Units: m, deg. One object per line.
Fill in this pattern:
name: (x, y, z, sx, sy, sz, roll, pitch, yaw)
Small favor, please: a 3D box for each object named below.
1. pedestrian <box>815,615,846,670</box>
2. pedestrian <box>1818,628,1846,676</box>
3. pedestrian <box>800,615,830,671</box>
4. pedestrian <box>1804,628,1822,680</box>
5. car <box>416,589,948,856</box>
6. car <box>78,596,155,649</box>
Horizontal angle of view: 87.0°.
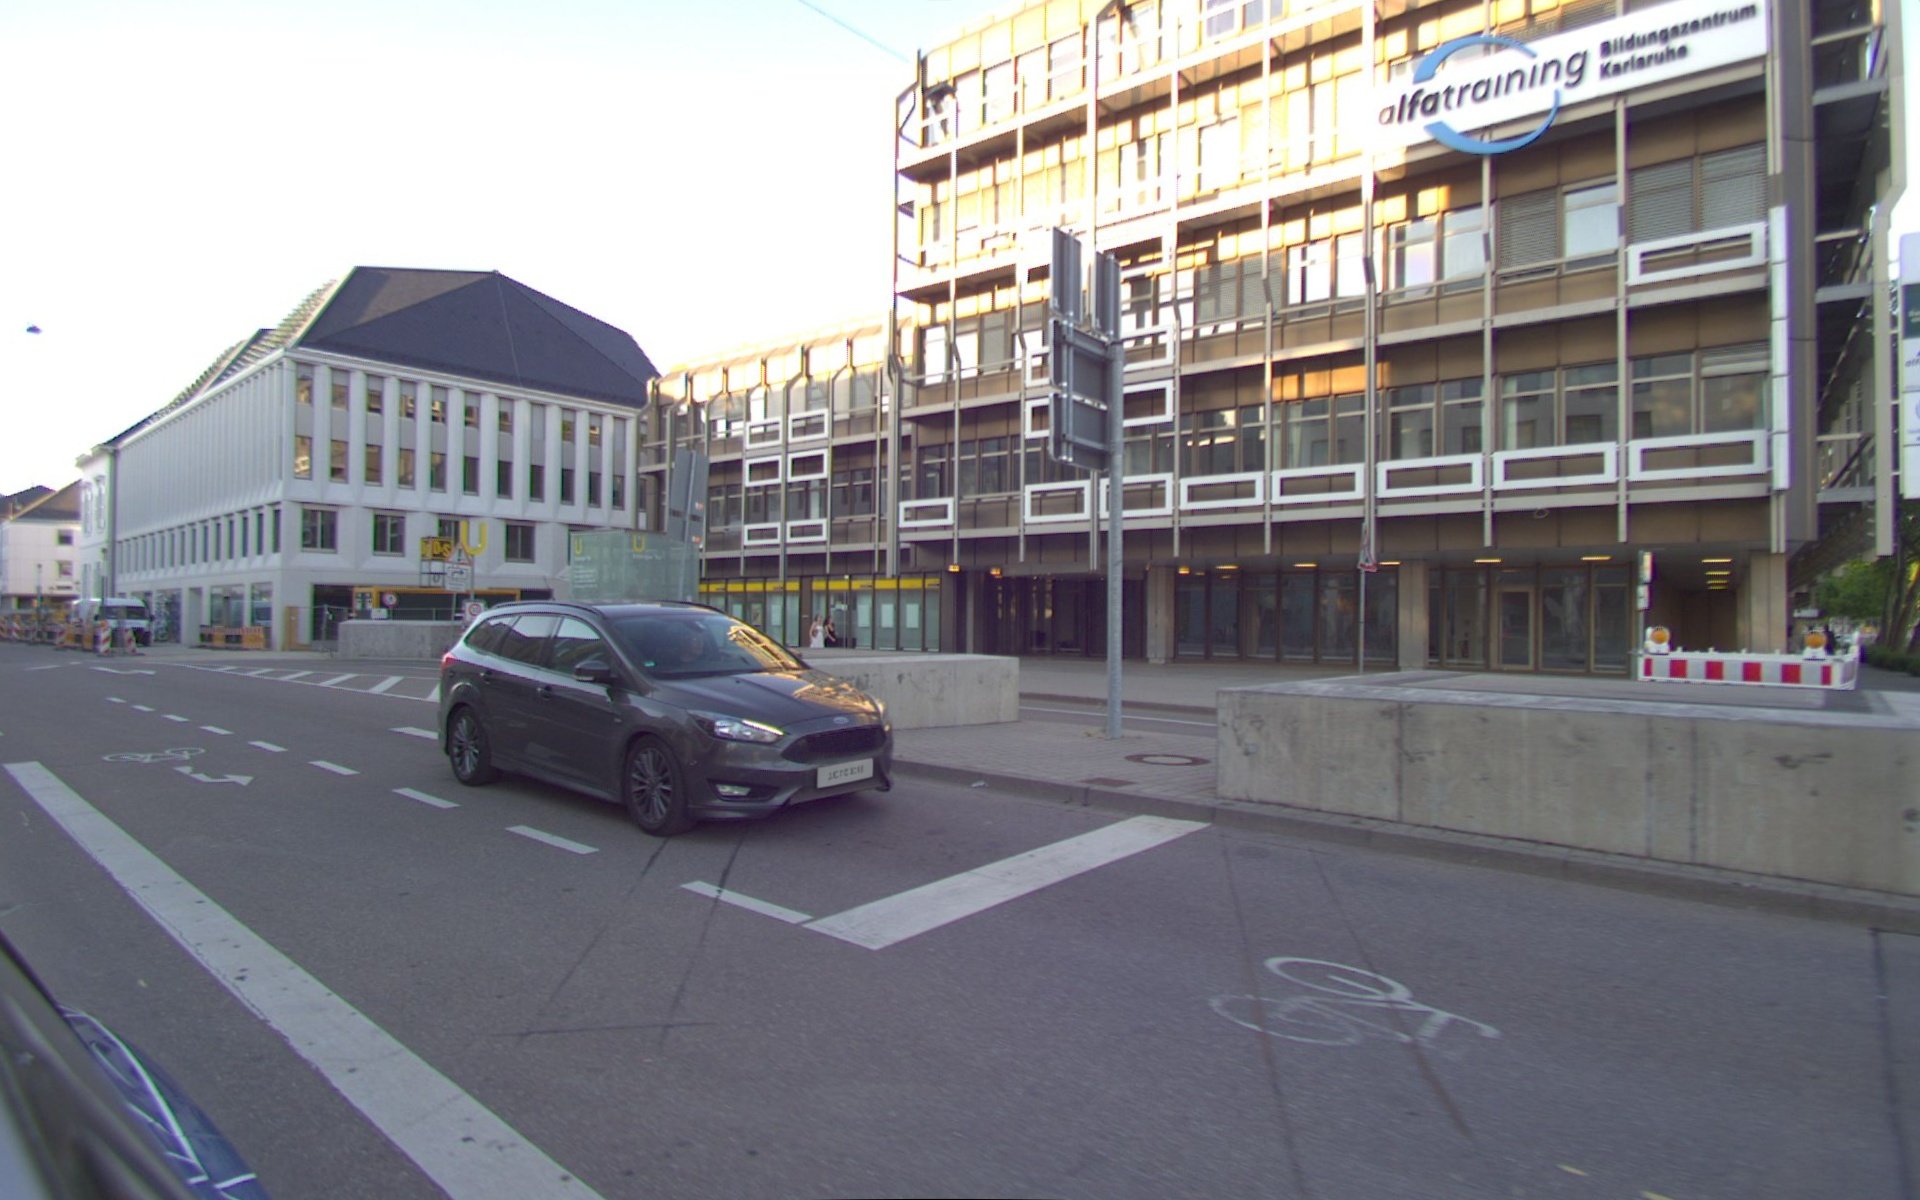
pedestrian: (-3.962, 1.286, 30.975, 0.702, 1.651, 0.608, -1, -2, 41)
pedestrian: (34.260, 2.041, 39.768, 0.755, 1.819, 0.713, 0, 0, 36)
pedestrian: (-4.370, 1.296, 30.491, 0.583, 1.651, 0.662, -1, -2, 41)
pedestrian: (34.274, 2.156, 40.678, 0.516, 2.029, 0.574, 0, 0, 36)
car: (-2.306, 0.696, 7.684, 4.377, 1.473, 1.740, -1, 0, 40)
car: (-43.564, 1.143, 52.229, 6.047, 2.575, 2.114, -1, -2, 41)
